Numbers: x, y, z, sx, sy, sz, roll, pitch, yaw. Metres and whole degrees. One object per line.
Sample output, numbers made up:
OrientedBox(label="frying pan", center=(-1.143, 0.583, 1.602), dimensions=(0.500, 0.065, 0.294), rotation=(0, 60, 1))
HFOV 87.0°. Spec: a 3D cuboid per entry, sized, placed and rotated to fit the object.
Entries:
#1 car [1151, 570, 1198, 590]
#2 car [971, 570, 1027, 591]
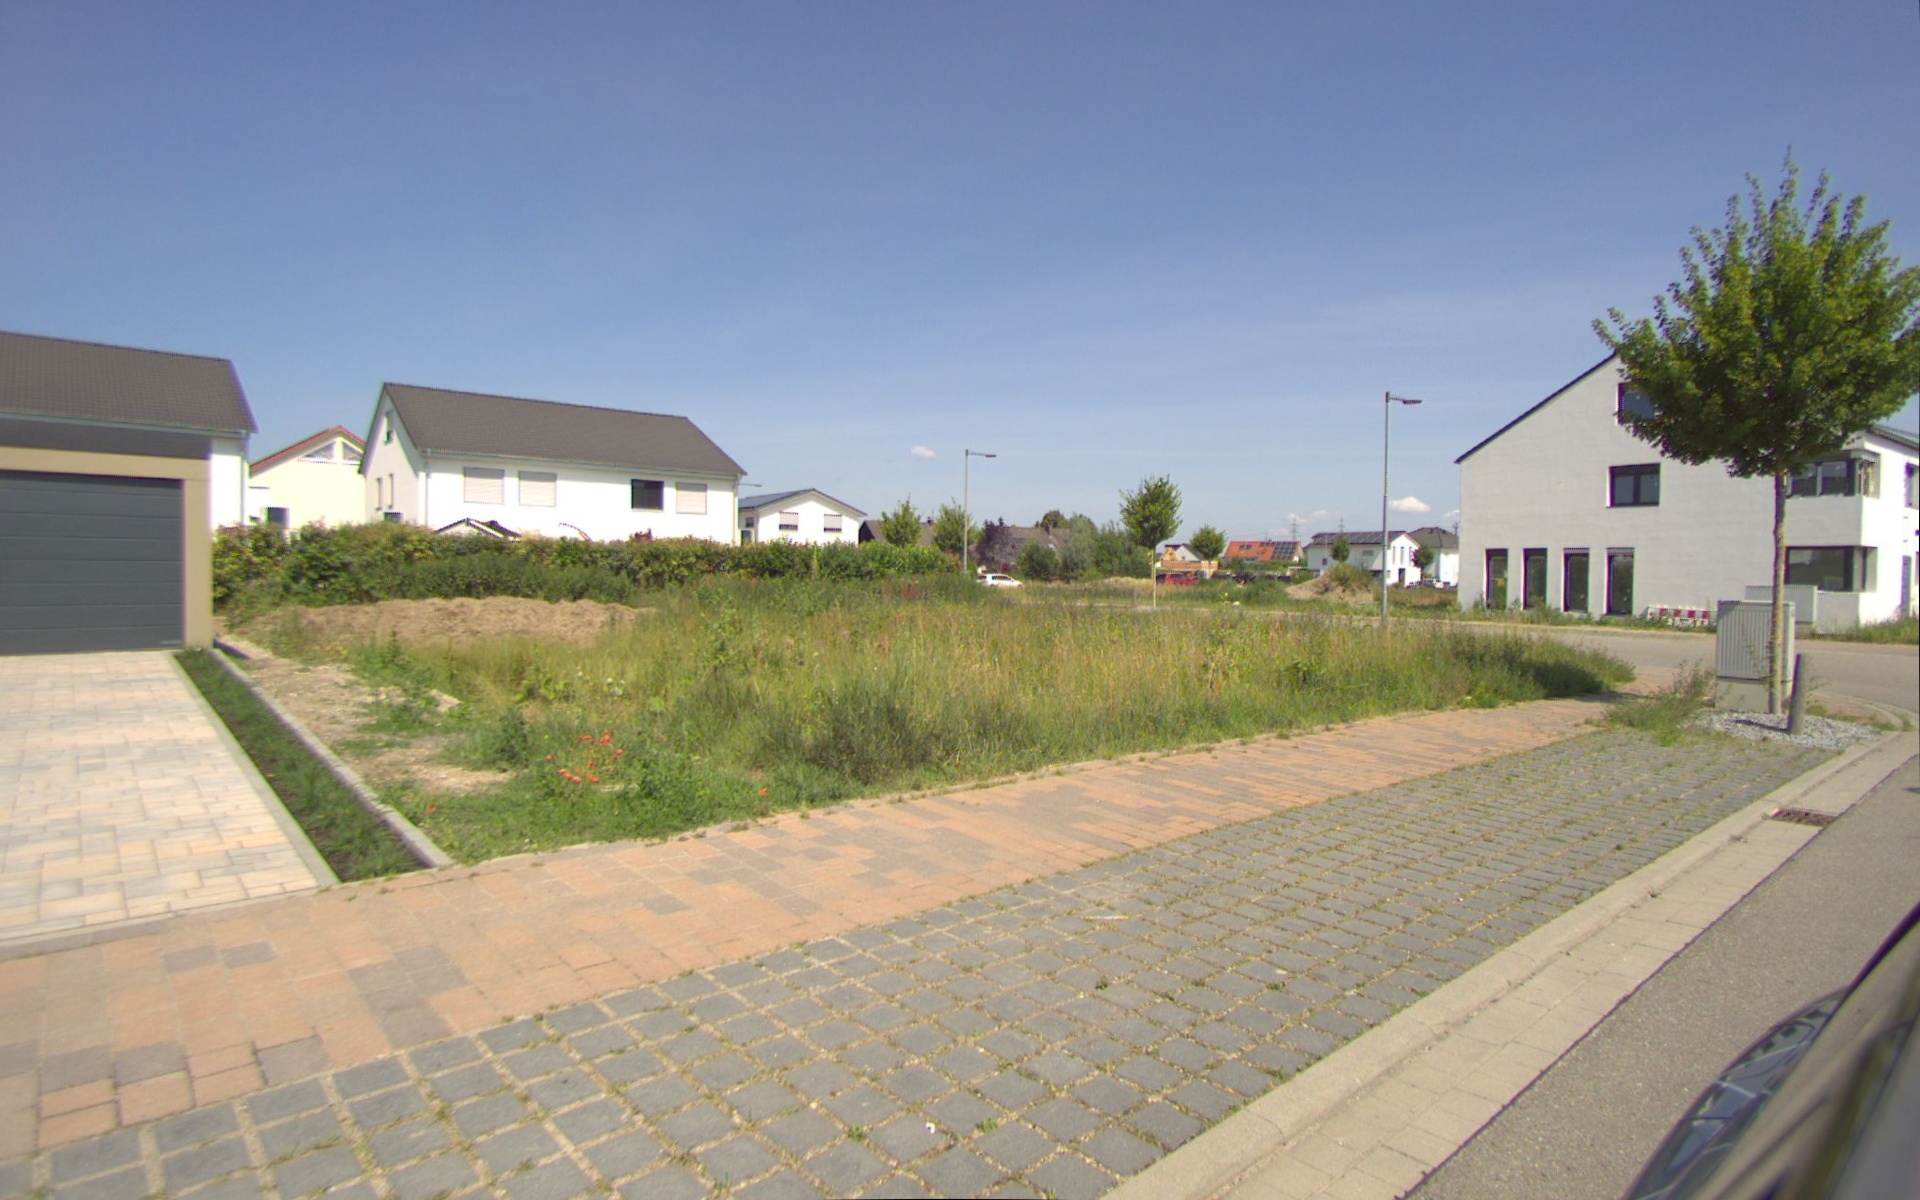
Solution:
OrientedBox(label="car", center=(18.366, -1.698, 86.704), dimensions=(3.925, 1.636, 1.809), rotation=(0, 2, -36))
OrientedBox(label="car", center=(2.930, -1.436, 75.889), dimensions=(3.921, 1.521, 1.811), rotation=(0, 2, -32))
